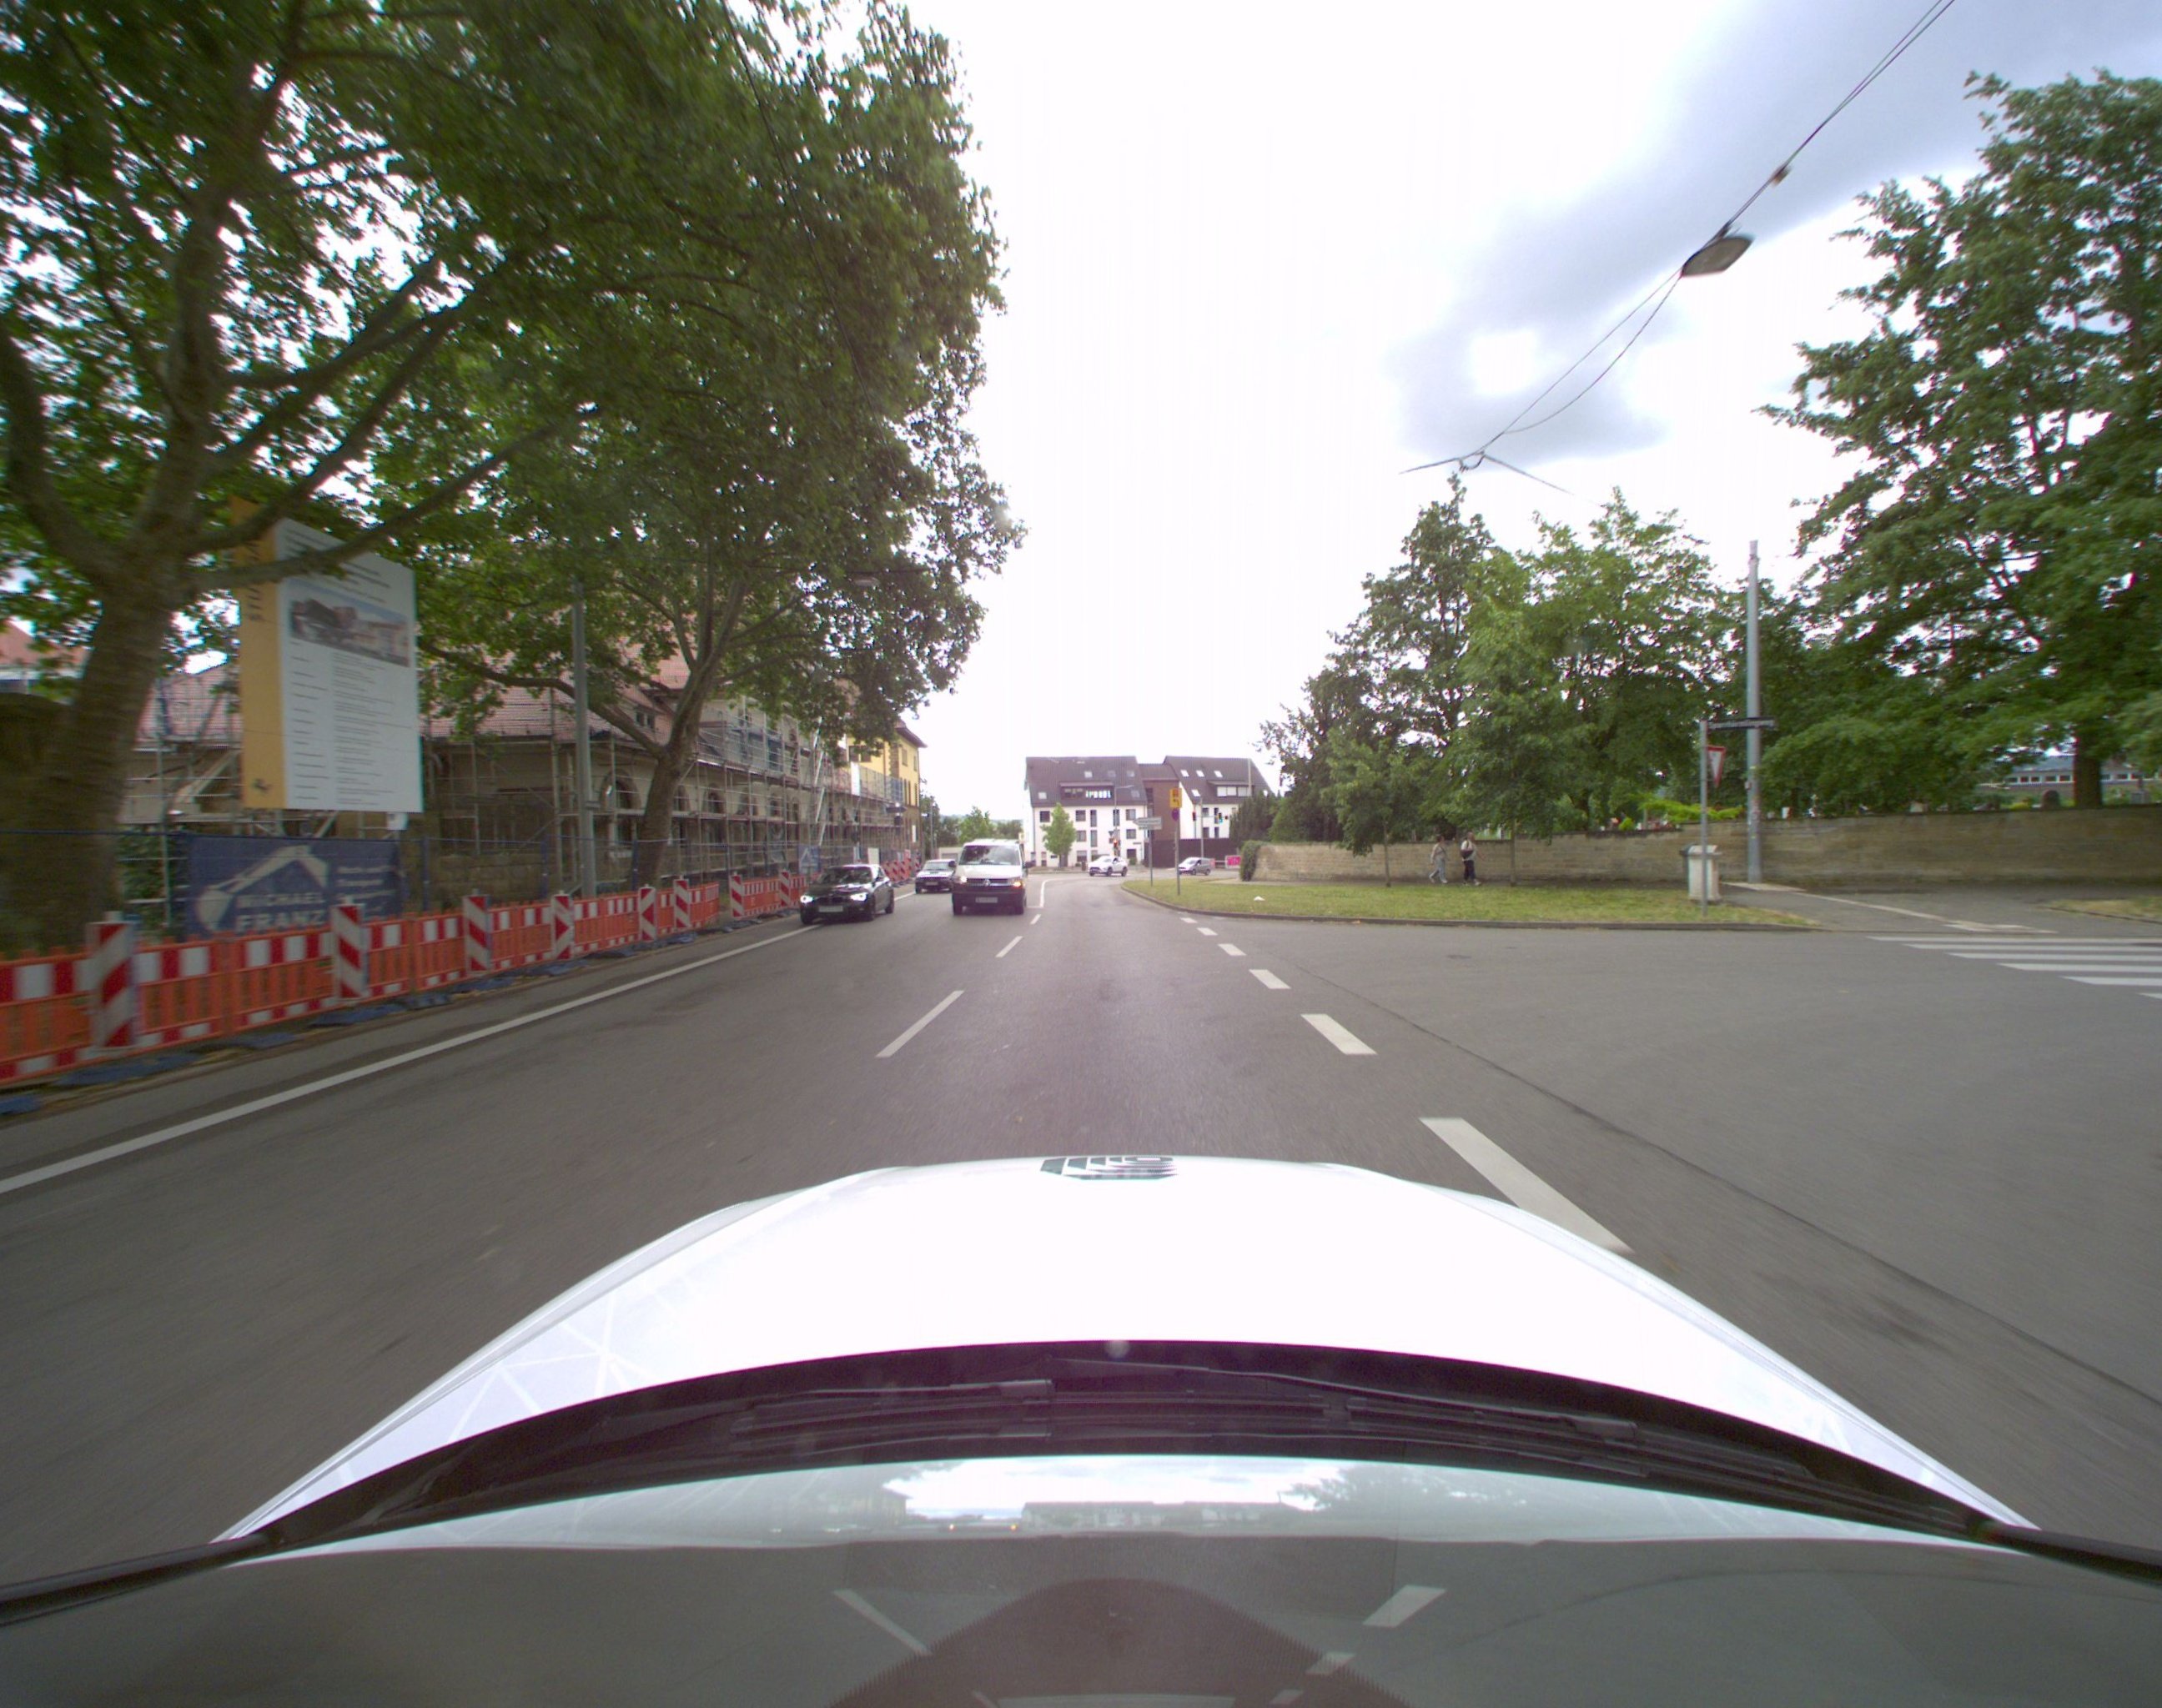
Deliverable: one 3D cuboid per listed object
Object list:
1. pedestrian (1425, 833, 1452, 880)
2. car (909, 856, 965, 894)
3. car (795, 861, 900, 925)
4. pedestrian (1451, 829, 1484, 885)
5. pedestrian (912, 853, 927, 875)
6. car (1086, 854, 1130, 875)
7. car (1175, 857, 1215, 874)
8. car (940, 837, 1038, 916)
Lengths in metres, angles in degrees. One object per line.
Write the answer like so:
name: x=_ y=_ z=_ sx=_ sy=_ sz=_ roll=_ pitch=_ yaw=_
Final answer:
pedestrian: x=12.594 y=0.095 z=28.670 sx=0.583 sy=1.585 sz=0.569 roll=-4 pitch=1 yaw=-32
car: x=-6.209 y=0.864 z=35.553 sx=1.797 sy=1.458 sz=4.630 roll=-2 pitch=0 yaw=-3
car: x=-6.048 y=0.950 z=21.554 sx=1.695 sy=1.426 sz=4.244 roll=-2 pitch=0 yaw=-3
pedestrian: x=12.201 y=0.099 z=25.730 sx=0.715 sy=1.734 sz=0.653 roll=-2 pitch=0 yaw=-36
pedestrian: x=-12.297 y=0.758 z=62.090 sx=0.920 sy=1.720 sz=0.798 roll=1 pitch=-1 yaw=0
car: x=2.262 y=0.886 z=67.450 sx=1.774 sy=1.611 sz=4.535 roll=-1 pitch=-2 yaw=29
car: x=11.211 y=1.175 z=79.927 sx=4.106 sy=1.614 sz=1.677 roll=1 pitch=-1 yaw=-44
car: x=-2.456 y=0.571 z=23.139 sx=2.199 sy=1.931 sz=5.237 roll=-2 pitch=0 yaw=-1
